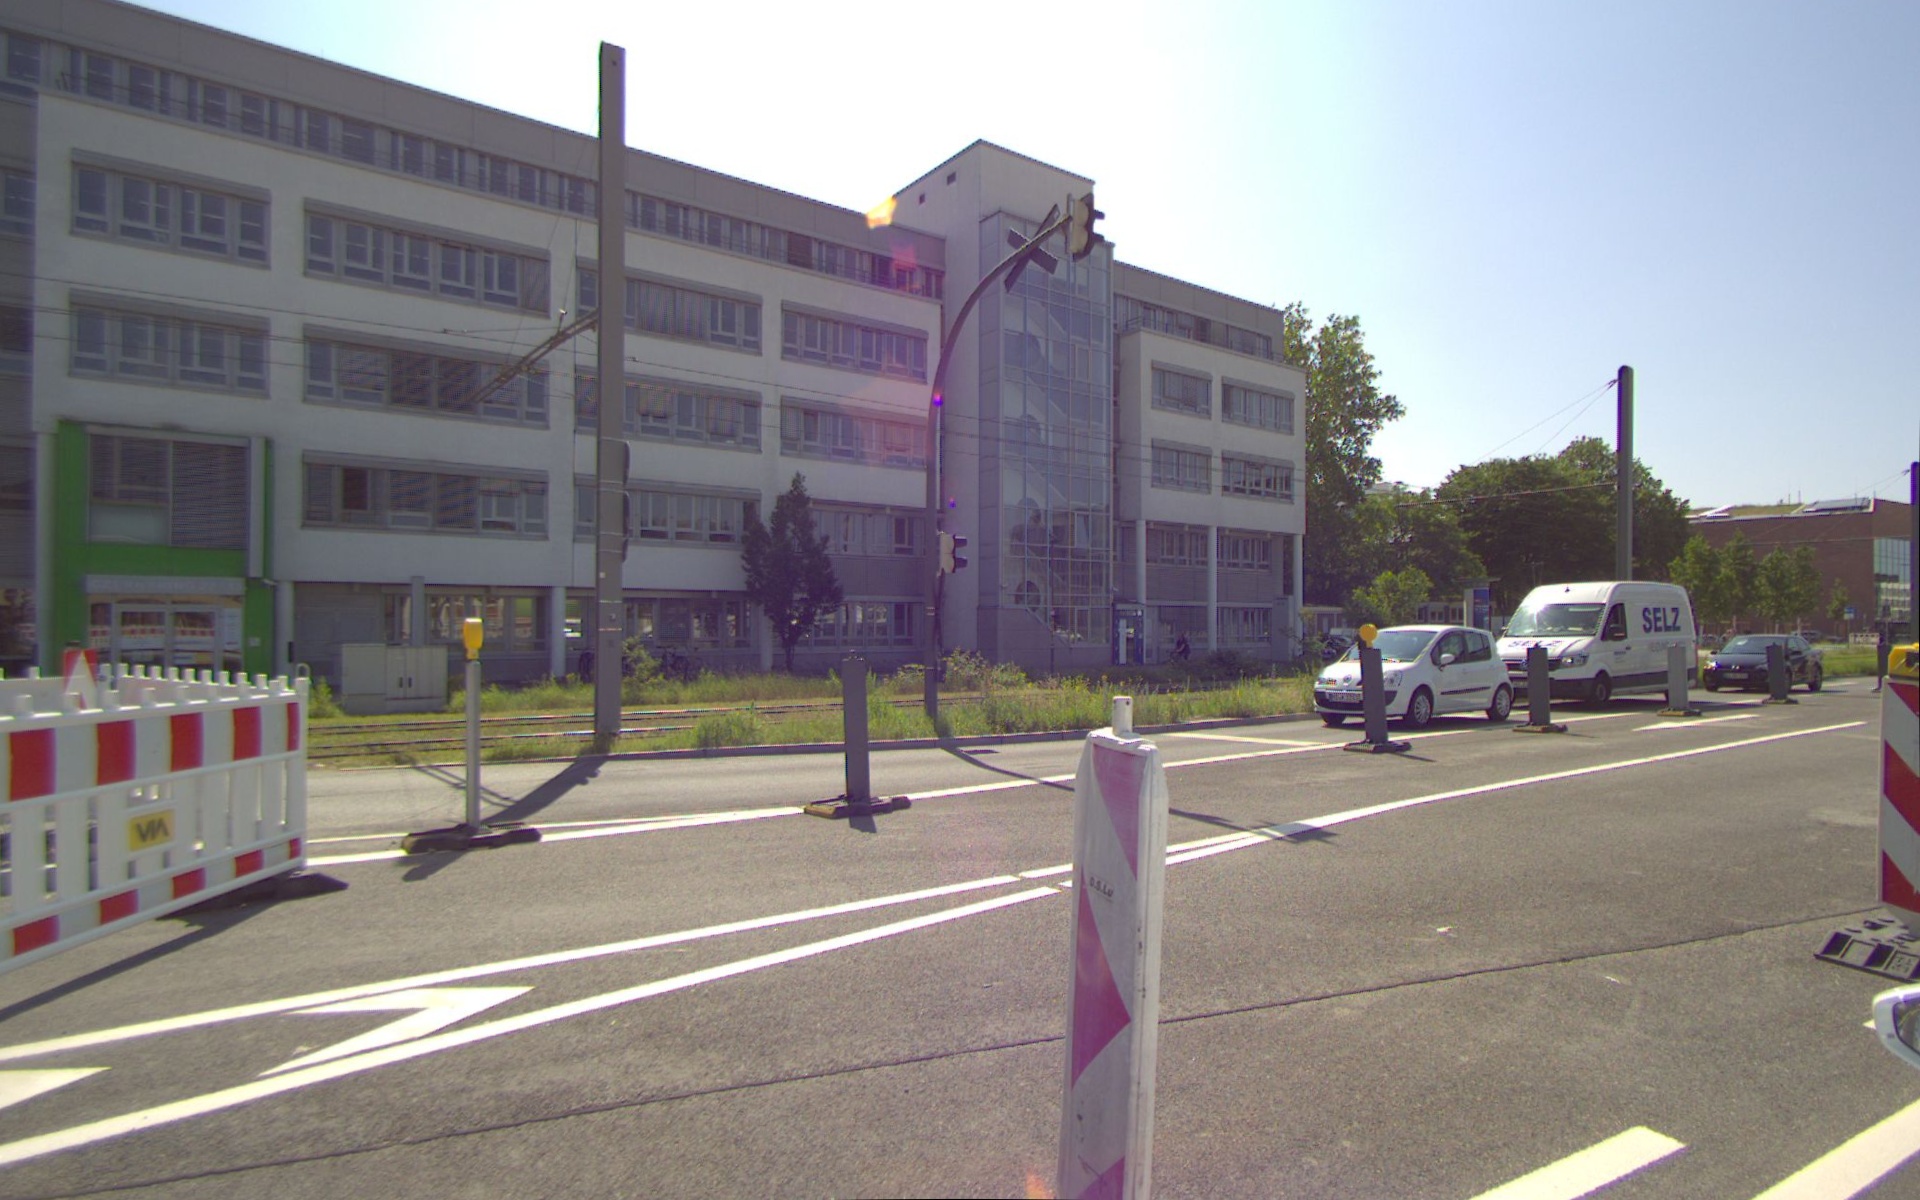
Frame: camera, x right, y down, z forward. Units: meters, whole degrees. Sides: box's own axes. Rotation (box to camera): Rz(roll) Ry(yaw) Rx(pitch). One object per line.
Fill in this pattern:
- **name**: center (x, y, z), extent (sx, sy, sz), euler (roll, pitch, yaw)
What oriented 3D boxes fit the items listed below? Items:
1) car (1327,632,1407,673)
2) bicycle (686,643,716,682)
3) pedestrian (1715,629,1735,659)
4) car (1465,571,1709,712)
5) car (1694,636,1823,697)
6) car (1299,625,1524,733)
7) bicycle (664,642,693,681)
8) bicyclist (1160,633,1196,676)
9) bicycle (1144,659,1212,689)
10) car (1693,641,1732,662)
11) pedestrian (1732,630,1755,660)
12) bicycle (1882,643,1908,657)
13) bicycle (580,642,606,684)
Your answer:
- **car**: center (23.671, 3.002, 58.687), extent (2.075, 2.208, 5.069), euler (1, -1, -8)
- **bicycle**: center (-8.826, 2.108, 34.197), extent (0.434, 1.205, 1.636), euler (1, 1, -34)
- **pedestrian**: center (53.262, 3.051, 69.936), extent (0.973, 2.040, 0.834), euler (1, 0, -33)
- **car**: center (13.274, 0.915, 21.104), extent (6.131, 2.612, 2.018), euler (2, -4, -35)
- **car**: center (20.904, 1.714, 26.238), extent (4.151, 1.476, 1.535), euler (2, -4, -36)
- **car**: center (7.427, 1.248, 16.400), extent (3.939, 1.561, 1.570), euler (2, -4, -36)
- **bicycle**: center (-9.494, 2.056, 33.846), extent (0.433, 1.205, 1.636), euler (1, 1, -33)
- **bicyclist**: center (8.012, 2.002, 36.965), extent (1.066, 1.560, 0.749), euler (2, -1, -35)
- **bicycle**: center (8.056, 2.710, 37.009), extent (2.802, 1.031, 0.749), euler (3, -1, -35)
- **car**: center (67.381, 4.580, 89.963), extent (3.901, 1.784, 1.687), euler (3, -1, -35)
- **pedestrian**: center (53.818, 3.068, 69.014), extent (0.900, 2.040, 0.977), euler (1, 0, -33)
- **bicycle**: center (100.870, 5.374, 108.403), extent (2.029, 1.472, 0.536), euler (0, 0, 44)
- **bicycle**: center (-11.713, 1.996, 32.037), extent (0.515, 1.205, 1.639), euler (1, 0, -29)
